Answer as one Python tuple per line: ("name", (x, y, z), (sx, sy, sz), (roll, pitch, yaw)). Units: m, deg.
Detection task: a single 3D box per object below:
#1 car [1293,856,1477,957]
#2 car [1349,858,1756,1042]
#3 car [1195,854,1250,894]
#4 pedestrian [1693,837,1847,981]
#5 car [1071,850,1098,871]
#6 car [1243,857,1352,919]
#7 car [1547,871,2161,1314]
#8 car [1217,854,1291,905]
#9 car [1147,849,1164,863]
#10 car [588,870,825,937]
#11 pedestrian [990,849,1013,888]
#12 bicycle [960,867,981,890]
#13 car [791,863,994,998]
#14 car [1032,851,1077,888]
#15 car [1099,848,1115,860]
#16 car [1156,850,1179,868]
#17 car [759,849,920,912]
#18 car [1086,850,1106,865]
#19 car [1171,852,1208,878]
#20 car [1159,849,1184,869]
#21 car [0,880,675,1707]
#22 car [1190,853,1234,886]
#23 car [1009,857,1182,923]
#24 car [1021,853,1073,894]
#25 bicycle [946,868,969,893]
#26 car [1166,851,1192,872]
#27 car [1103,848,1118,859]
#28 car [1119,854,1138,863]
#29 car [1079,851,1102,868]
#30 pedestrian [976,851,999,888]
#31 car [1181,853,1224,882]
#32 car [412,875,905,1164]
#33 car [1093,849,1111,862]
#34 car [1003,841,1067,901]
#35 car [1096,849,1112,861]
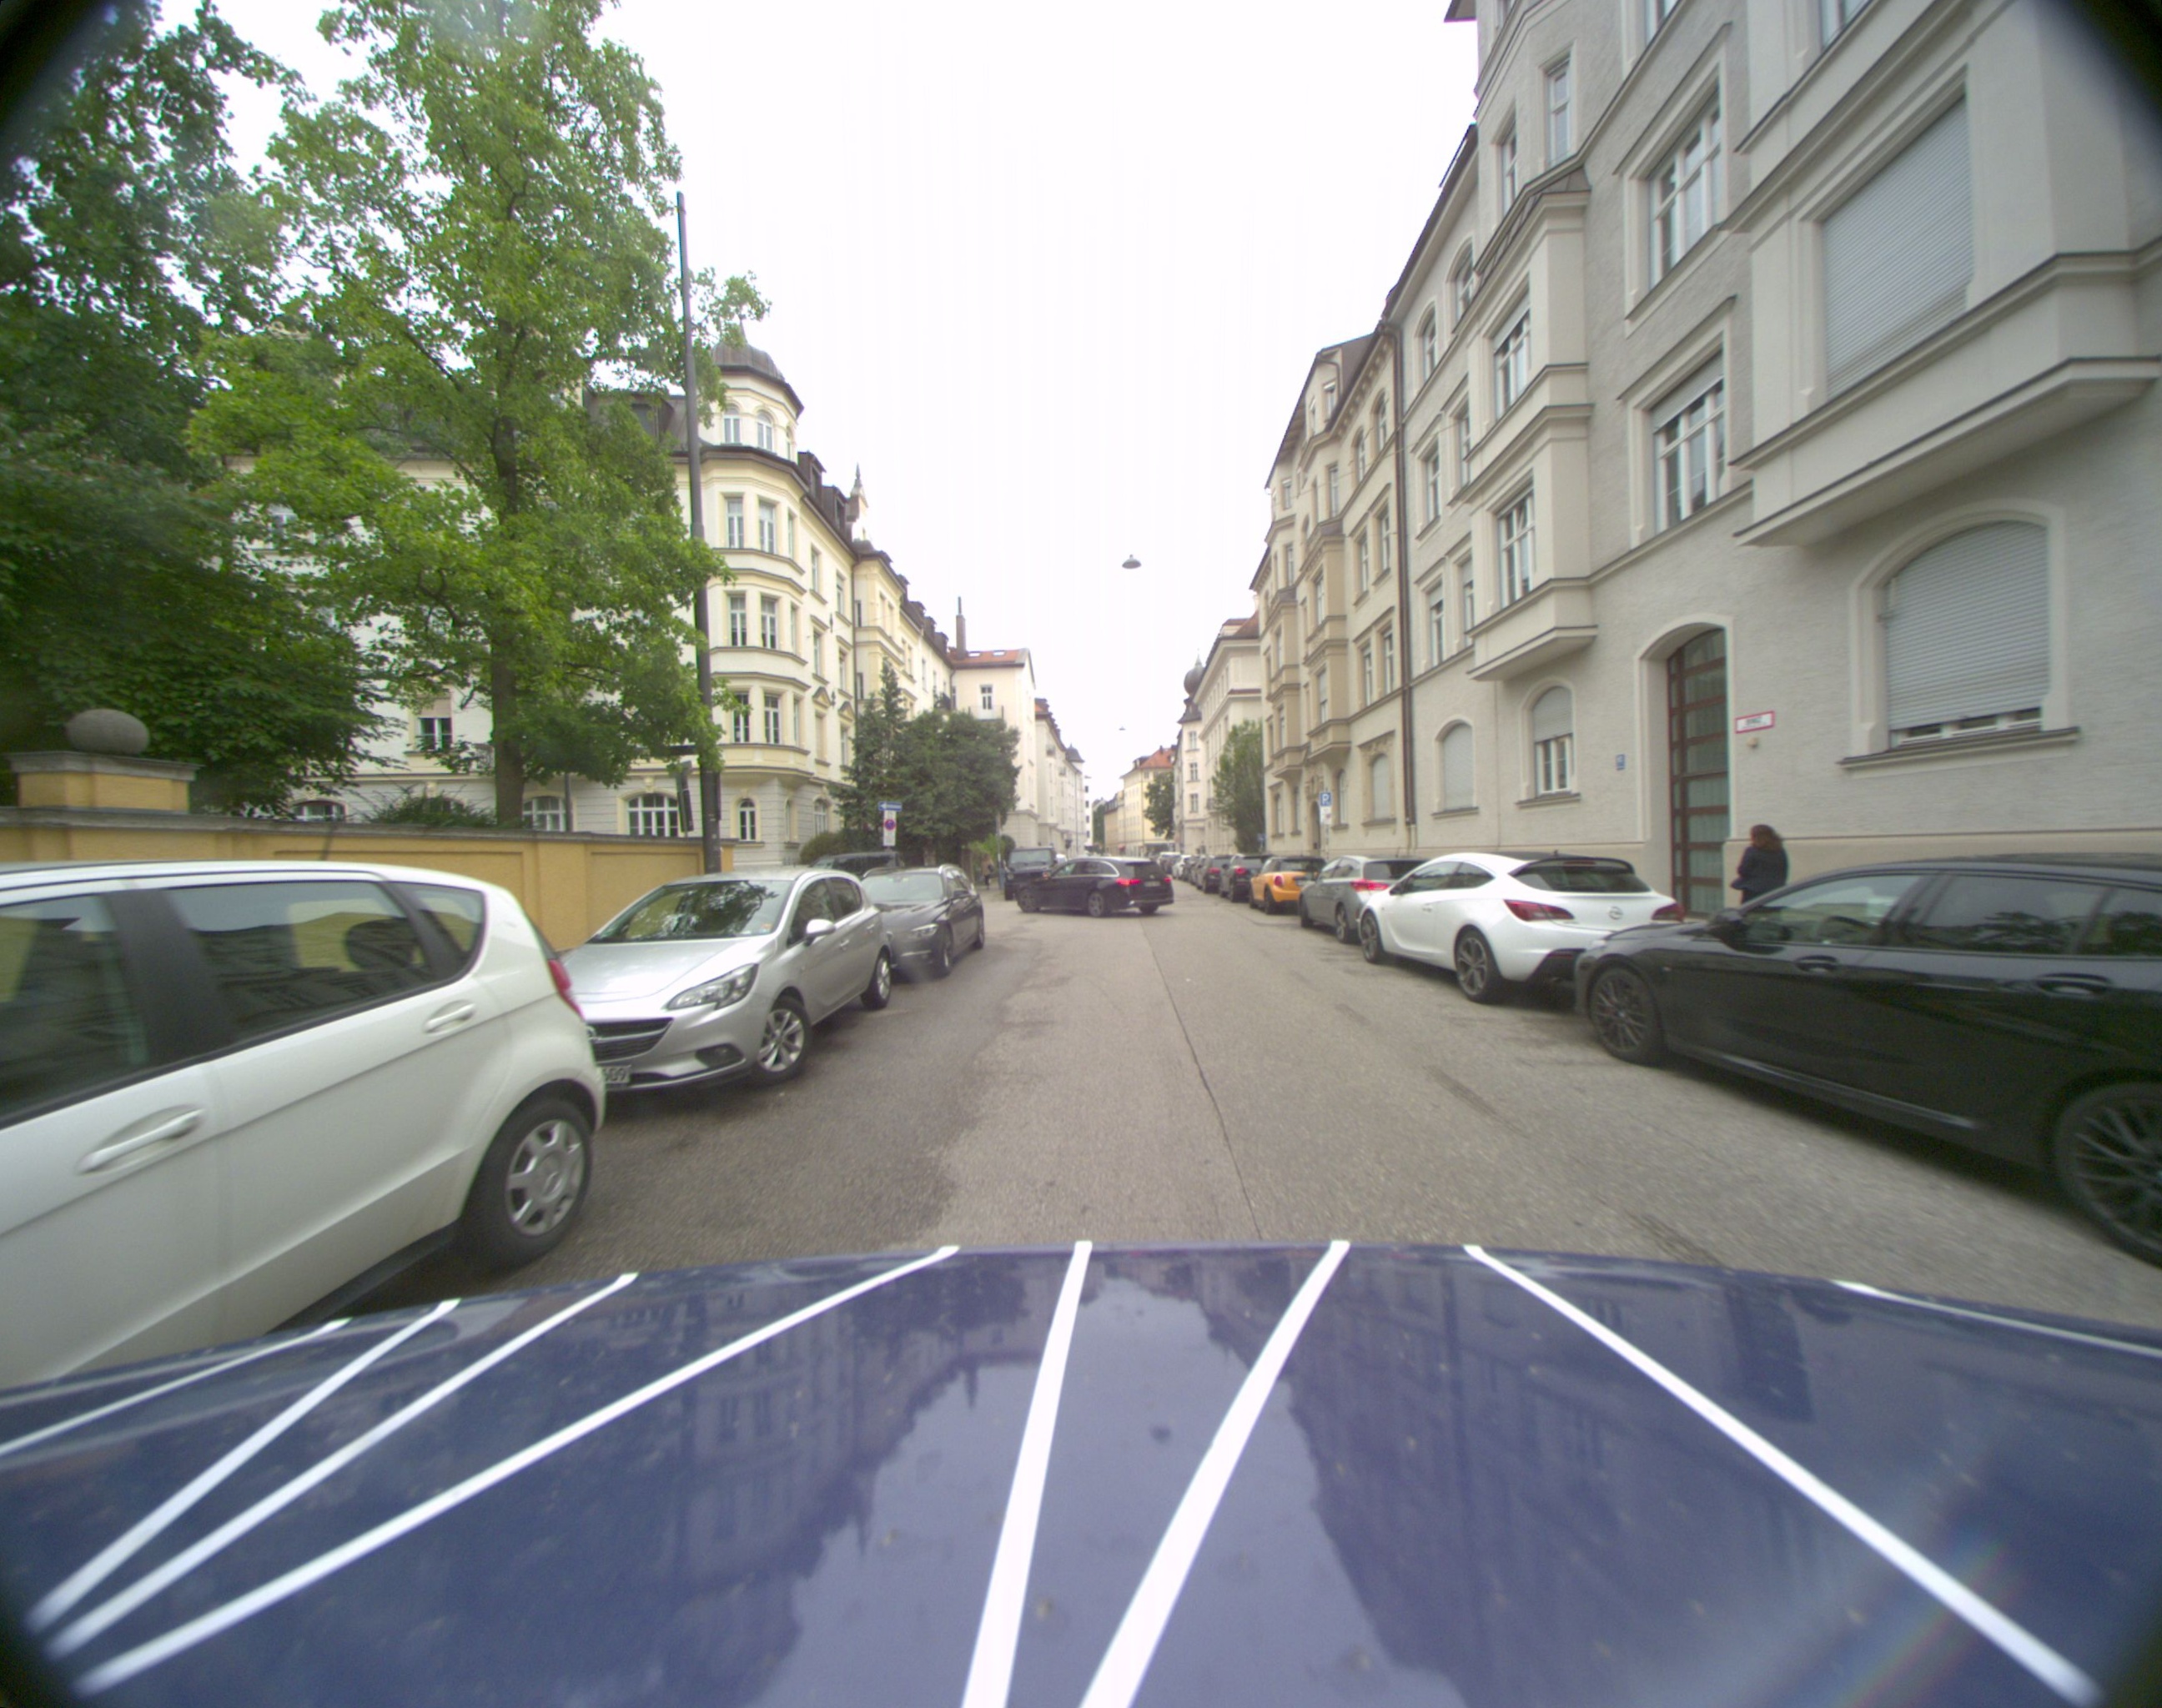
("car", (5.086, 0.791, 13.312), (1.809, 1.455, 3.938), (-1, 0, 3))
("car", (4.680, 0.810, 8.486), (1.860, 1.455, 4.379), (-1, 0, 1))
("car", (5.441, 0.738, 29.607), (1.626, 1.421, 3.942), (-1, 0, 4))
("pedestrian", (8.226, 0.619, 9.127), (0.876, 1.599, 1.052), (-2, 1, 2))
("car", (0.325, 0.570, 67.404), (1.998, 1.585, 4.300), (-5, 0, 4))
("car", (5.284, 0.775, 19.024), (1.809, 1.355, 3.730), (-1, 0, 3))
("car", (4.618, 0.853, 3.847), (1.860, 1.404, 4.379), (0, 0, 1))
("car", (5.360, 0.738, 23.950), (1.626, 1.448, 3.942), (-1, 0, 3))
("car", (8.422, 0.188, 86.097), (1.627, 1.522, 3.920), (-1, 0, 2))
("car", (-9.159, 1.188, 18.923), (4.954, 1.404, 1.742), (-2, 0, -5))
("pedestrian", (-3.689, 0.675, 35.248), (0.876, 1.745, 1.052), (-2, 1, 2))
("bicycle", (-5.097, 1.122, 35.162), (0.448, 0.979, 1.780), (-2, 0, 8))
("car", (-2.502, 0.930, 11.412), (1.717, 1.445, 4.955), (-2, 0, 1))
("car", (-1.319, 0.777, 39.400), (1.998, 1.643, 4.448), (-5, 0, 1))
("car", (4.004, -0.013, 117.045), (1.997, 1.585, 4.301), (-5, 0, 8))
("car", (7.356, 0.419, 64.944), (1.627, 1.522, 3.920), (-1, 0, 2))
("car", (-7.786, 0.858, 24.838), (4.678, 1.860, 1.742), (-2, -2, -3))
("car", (1.844, 0.394, 92.074), (1.998, 1.585, 4.300), (-5, 0, 4))
("car", (6.262, 0.626, 44.217), (1.627, 1.421, 3.689), (-1, 0, 0))
("car", (7.064, 0.383, 59.508), (1.627, 1.522, 3.689), (-1, 0, 2))
("car", (-3.001, 0.954, 1.759), (1.717, 1.561, 4.319), (-2, 0, 1))
("car", (5.891, 0.661, 34.505), (1.626, 1.421, 3.589), (-1, 0, 4))
("car", (0.238, 0.838, 19.250), (1.796, 1.405, 4.569), (-2, 1, -40))
("car", (-1.482, 0.833, 34.231), (1.998, 1.585, 3.855), (-5, 0, 0))
("bicycle", (-5.300, 1.138, 32.705), (0.448, 0.979, 1.780), (-2, 0, 8))
("car", (7.039, 0.536, 54.723), (1.626, 1.421, 3.690), (-1, 0, 4))
("car", (4.912, -0.051, 125.880), (1.997, 1.585, 4.301), (-5, 0, 9))
("car", (8.967, 0.798, 144.125), (2.002, 1.641, 3.992), (-2, 0, -24))
("car", (1.056, 0.536, 81.369), (1.998, 1.585, 4.300), (-5, 0, 4))
("pedestrian", (-4.348, 0.723, 35.350), (0.876, 1.680, 1.052), (-2, 1, 2))
("car", (6.290, 0.668, 39.678), (1.627, 1.421, 3.689), (-1, 0, 0))
("car", (-2.854, 0.991, 6.360), (1.717, 1.445, 4.183), (-2, 0, 1))
("car", (2.976, 0.216, 106.773), (1.998, 1.672, 4.300), (-5, 0, 5))
("car", (-1.669, 0.616, 29.218), (1.998, 1.949, 4.433), (-5, 0, 0))
("car", (3.435, 0.174, 112.193), (1.998, 1.585, 4.429), (-5, 0, 5))
